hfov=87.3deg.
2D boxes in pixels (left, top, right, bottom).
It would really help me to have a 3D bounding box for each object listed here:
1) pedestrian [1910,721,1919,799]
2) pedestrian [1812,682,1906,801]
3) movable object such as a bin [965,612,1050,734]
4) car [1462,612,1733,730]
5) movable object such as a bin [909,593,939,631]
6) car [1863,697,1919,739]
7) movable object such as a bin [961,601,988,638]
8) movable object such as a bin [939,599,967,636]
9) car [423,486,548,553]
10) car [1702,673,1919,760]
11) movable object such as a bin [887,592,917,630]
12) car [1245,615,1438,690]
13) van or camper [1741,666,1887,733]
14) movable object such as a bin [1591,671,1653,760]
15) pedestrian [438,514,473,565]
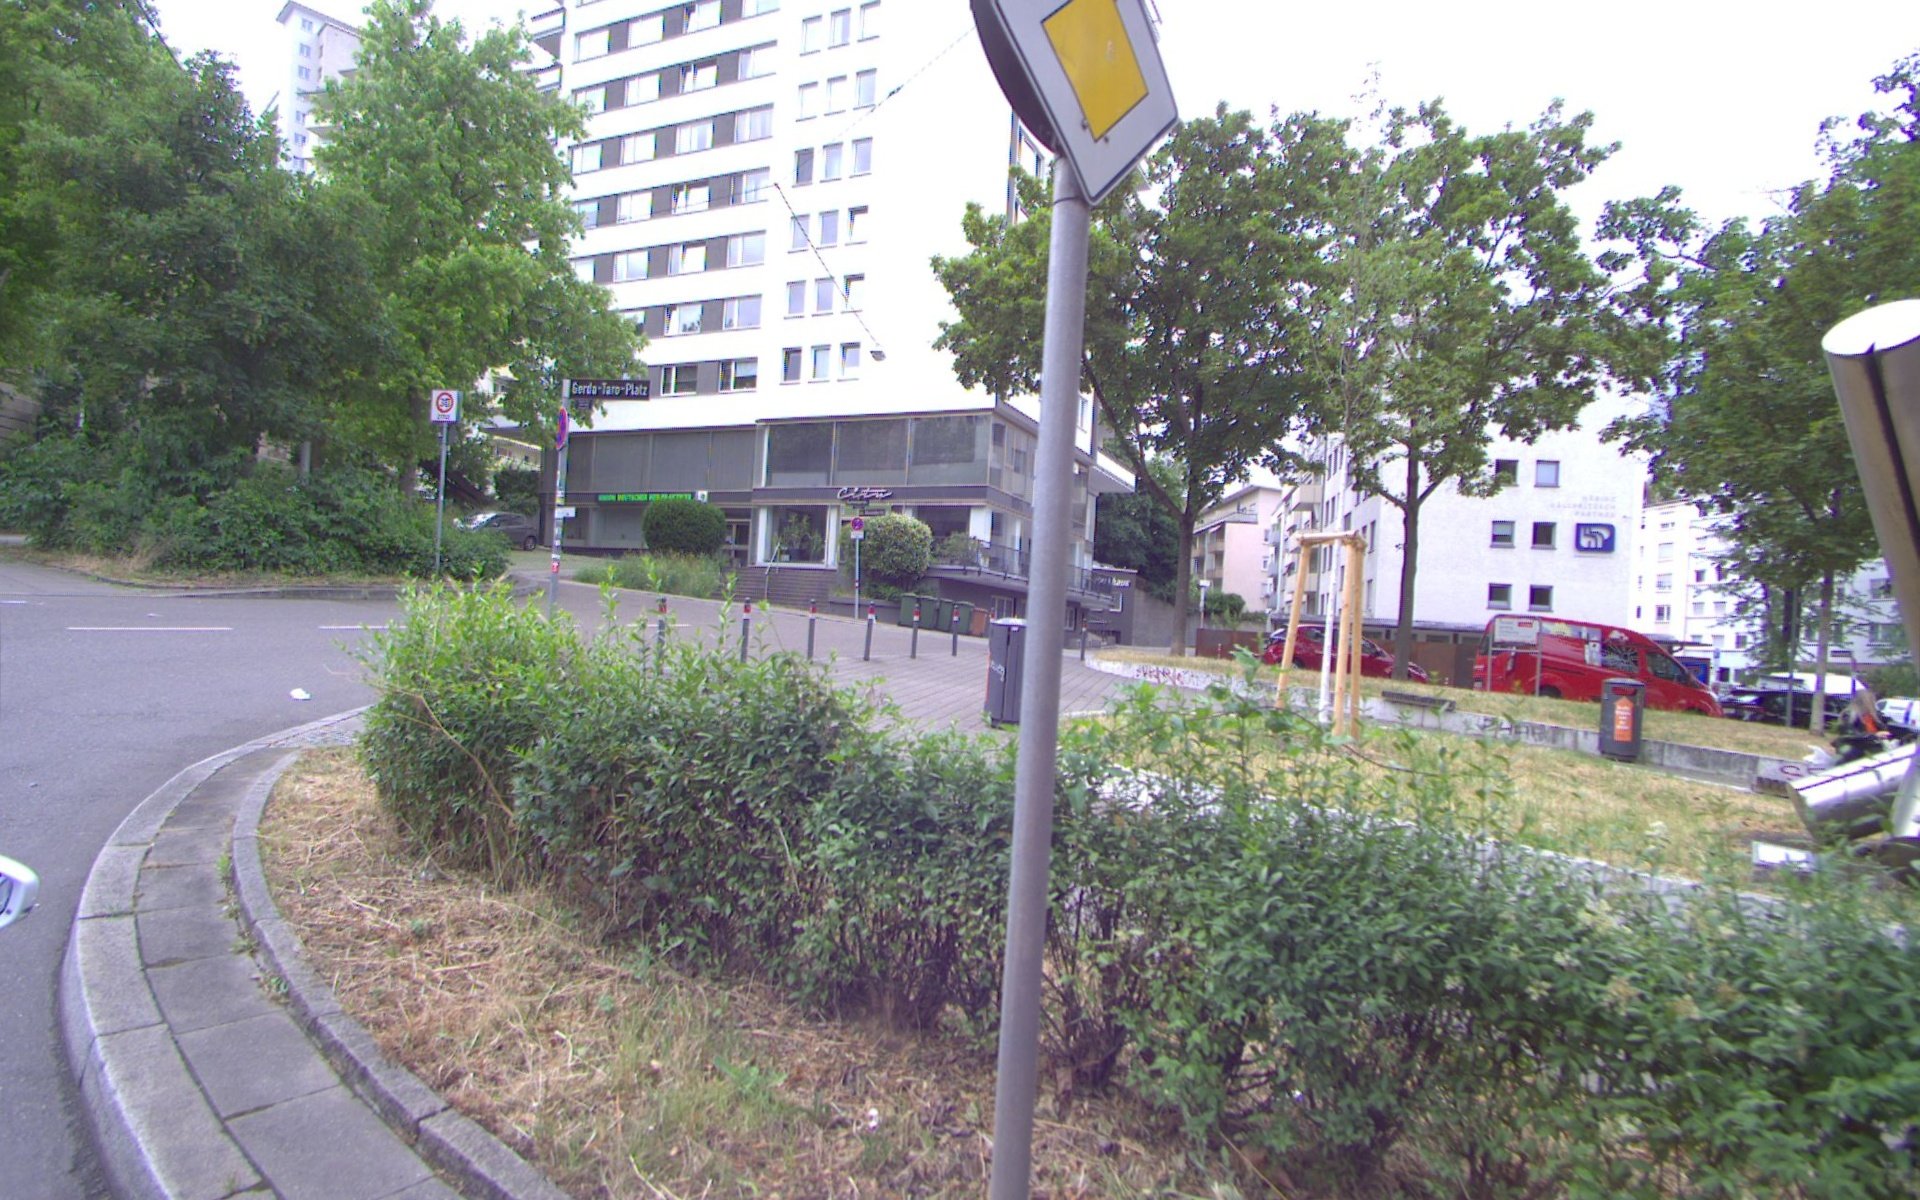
[{"bbox_3d":[11.217,1.509,11.238,0.609,1.562,0.549,7,1,29],"label":"pedestrian"},{"bbox_3d":[10.874,1.694,12.189,0.609,1.317,0.549,7,1,29],"label":"pedestrian"},{"bbox_3d":[0.472,0.714,9.959,0.556,1.108,0.494,7,1,31],"label":"movable object such as a bin"},{"bbox_3d":[14.784,1.651,23.563,4.889,2.050,2.032,7,-3,2],"label":"car"},{"bbox_3d":[-1.159,0.392,32.558,0.700,1.118,0.824,7,1,8],"label":"movable object such as a bin"},{"bbox_3d":[44.504,5.545,47.159,1.589,1.822,3.673,5,-4,14],"label":"car"},{"bbox_3d":[0.487,0.638,32.831,0.668,1.118,0.824,7,1,8],"label":"movable object such as a bin"},{"bbox_3d":[-0.215,0.582,32.996,0.700,1.118,0.824,7,1,8],"label":"movable object such as a bin"},{"bbox_3d":[-18.928,-3.170,40.317,1.964,2.039,4.140,7,0,24],"label":"car"},{"bbox_3d":[19.851,2.667,23.208,4.071,1.524,1.756,6,-3,2],"label":"car"},{"bbox_3d":[-1.879,0.356,32.550,0.700,1.118,0.824,7,1,8],"label":"movable object such as a bin"},{"bbox_3d":[8.907,1.261,23.715,3.848,1.293,1.622,6,-3,3],"label":"car"},{"bbox_3d":[33.815,3.963,40.097,2.257,2.255,5.451,5,-4,16],"label":"van or camper"},{"bbox_3d":[8.821,1.543,13.432,0.599,1.094,0.670,4,-3,32],"label":"movable object such as a bin"},{"bbox_3d":[-16.185,-1.942,32.269,0.665,1.519,0.559,6,1,5],"label":"pedestrian"}]
